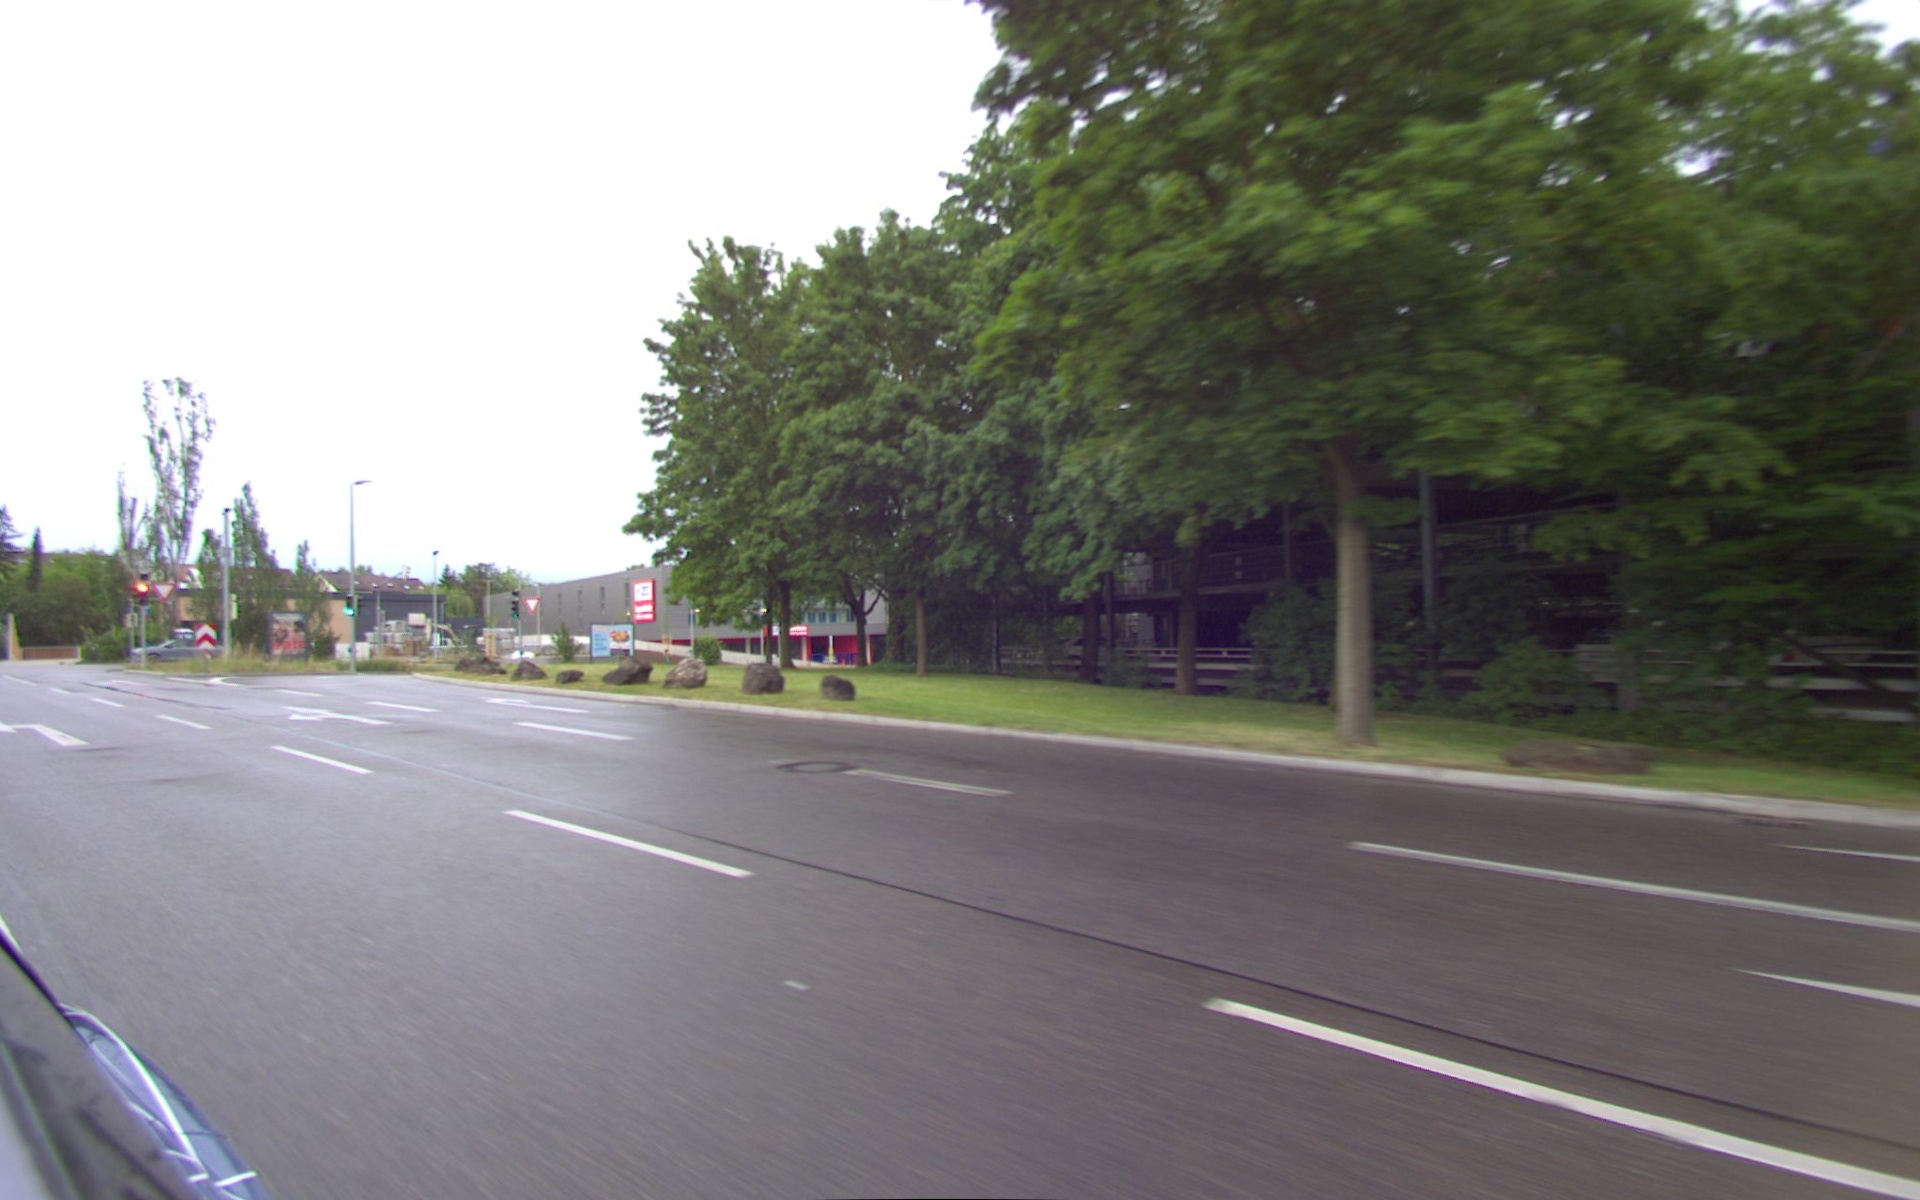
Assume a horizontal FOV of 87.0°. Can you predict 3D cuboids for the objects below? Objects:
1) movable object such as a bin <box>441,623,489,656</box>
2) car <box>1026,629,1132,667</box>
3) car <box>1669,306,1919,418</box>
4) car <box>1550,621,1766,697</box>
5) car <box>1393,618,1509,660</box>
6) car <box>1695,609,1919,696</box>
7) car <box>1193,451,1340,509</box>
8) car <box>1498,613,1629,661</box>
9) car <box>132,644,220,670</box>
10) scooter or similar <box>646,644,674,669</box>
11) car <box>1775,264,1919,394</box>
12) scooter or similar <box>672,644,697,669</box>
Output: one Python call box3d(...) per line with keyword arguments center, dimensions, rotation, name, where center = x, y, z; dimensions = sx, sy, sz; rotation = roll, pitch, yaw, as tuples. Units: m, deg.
box3d(center=(-40.974, 3.279, 83.746), dimensions=(1.927, 2.647, 2.958), rotation=(-3, -5, 40), name="movable object such as a bin")
box3d(center=(4.976, 1.993, 42.441), dimensions=(3.930, 1.530, 2.006), rotation=(1, -2, -21), name="car")
box3d(center=(16.072, -4.492, 19.486), dimensions=(3.931, 1.530, 2.006), rotation=(-3, -1, -21), name="car")
box3d(center=(15.157, 1.250, 21.995), dimensions=(3.930, 1.530, 2.006), rotation=(1, -2, -22), name="car")
box3d(center=(18.722, 1.488, 38.611), dimensions=(3.931, 1.530, 2.006), rotation=(1, -2, -27), name="car")
box3d(center=(16.475, 0.977, 19.391), dimensions=(3.931, 1.530, 2.006), rotation=(1, -2, -21), name="car")
box3d(center=(9.642, -3.763, 31.864), dimensions=(3.931, 1.530, 2.006), rotation=(-3, -1, -21), name="car")
box3d(center=(20.353, 1.237, 34.125), dimensions=(3.931, 1.530, 2.006), rotation=(1, -2, -27), name="car")
box3d(center=(-45.957, 3.322, 59.371), dimensions=(3.980, 1.415, 1.842), rotation=(1, -3, -42), name="car")
box3d(center=(-15.552, 2.939, 52.431), dimensions=(0.548, 1.269, 1.341), rotation=(-3, -5, 35), name="scooter or similar")
box3d(center=(16.592, -4.603, 17.574), dimensions=(3.931, 1.530, 2.006), rotation=(-3, -1, -21), name="car")
box3d(center=(-14.546, 2.992, 53.472), dimensions=(0.516, 1.269, 1.211), rotation=(-3, -5, 35), name="scooter or similar")
